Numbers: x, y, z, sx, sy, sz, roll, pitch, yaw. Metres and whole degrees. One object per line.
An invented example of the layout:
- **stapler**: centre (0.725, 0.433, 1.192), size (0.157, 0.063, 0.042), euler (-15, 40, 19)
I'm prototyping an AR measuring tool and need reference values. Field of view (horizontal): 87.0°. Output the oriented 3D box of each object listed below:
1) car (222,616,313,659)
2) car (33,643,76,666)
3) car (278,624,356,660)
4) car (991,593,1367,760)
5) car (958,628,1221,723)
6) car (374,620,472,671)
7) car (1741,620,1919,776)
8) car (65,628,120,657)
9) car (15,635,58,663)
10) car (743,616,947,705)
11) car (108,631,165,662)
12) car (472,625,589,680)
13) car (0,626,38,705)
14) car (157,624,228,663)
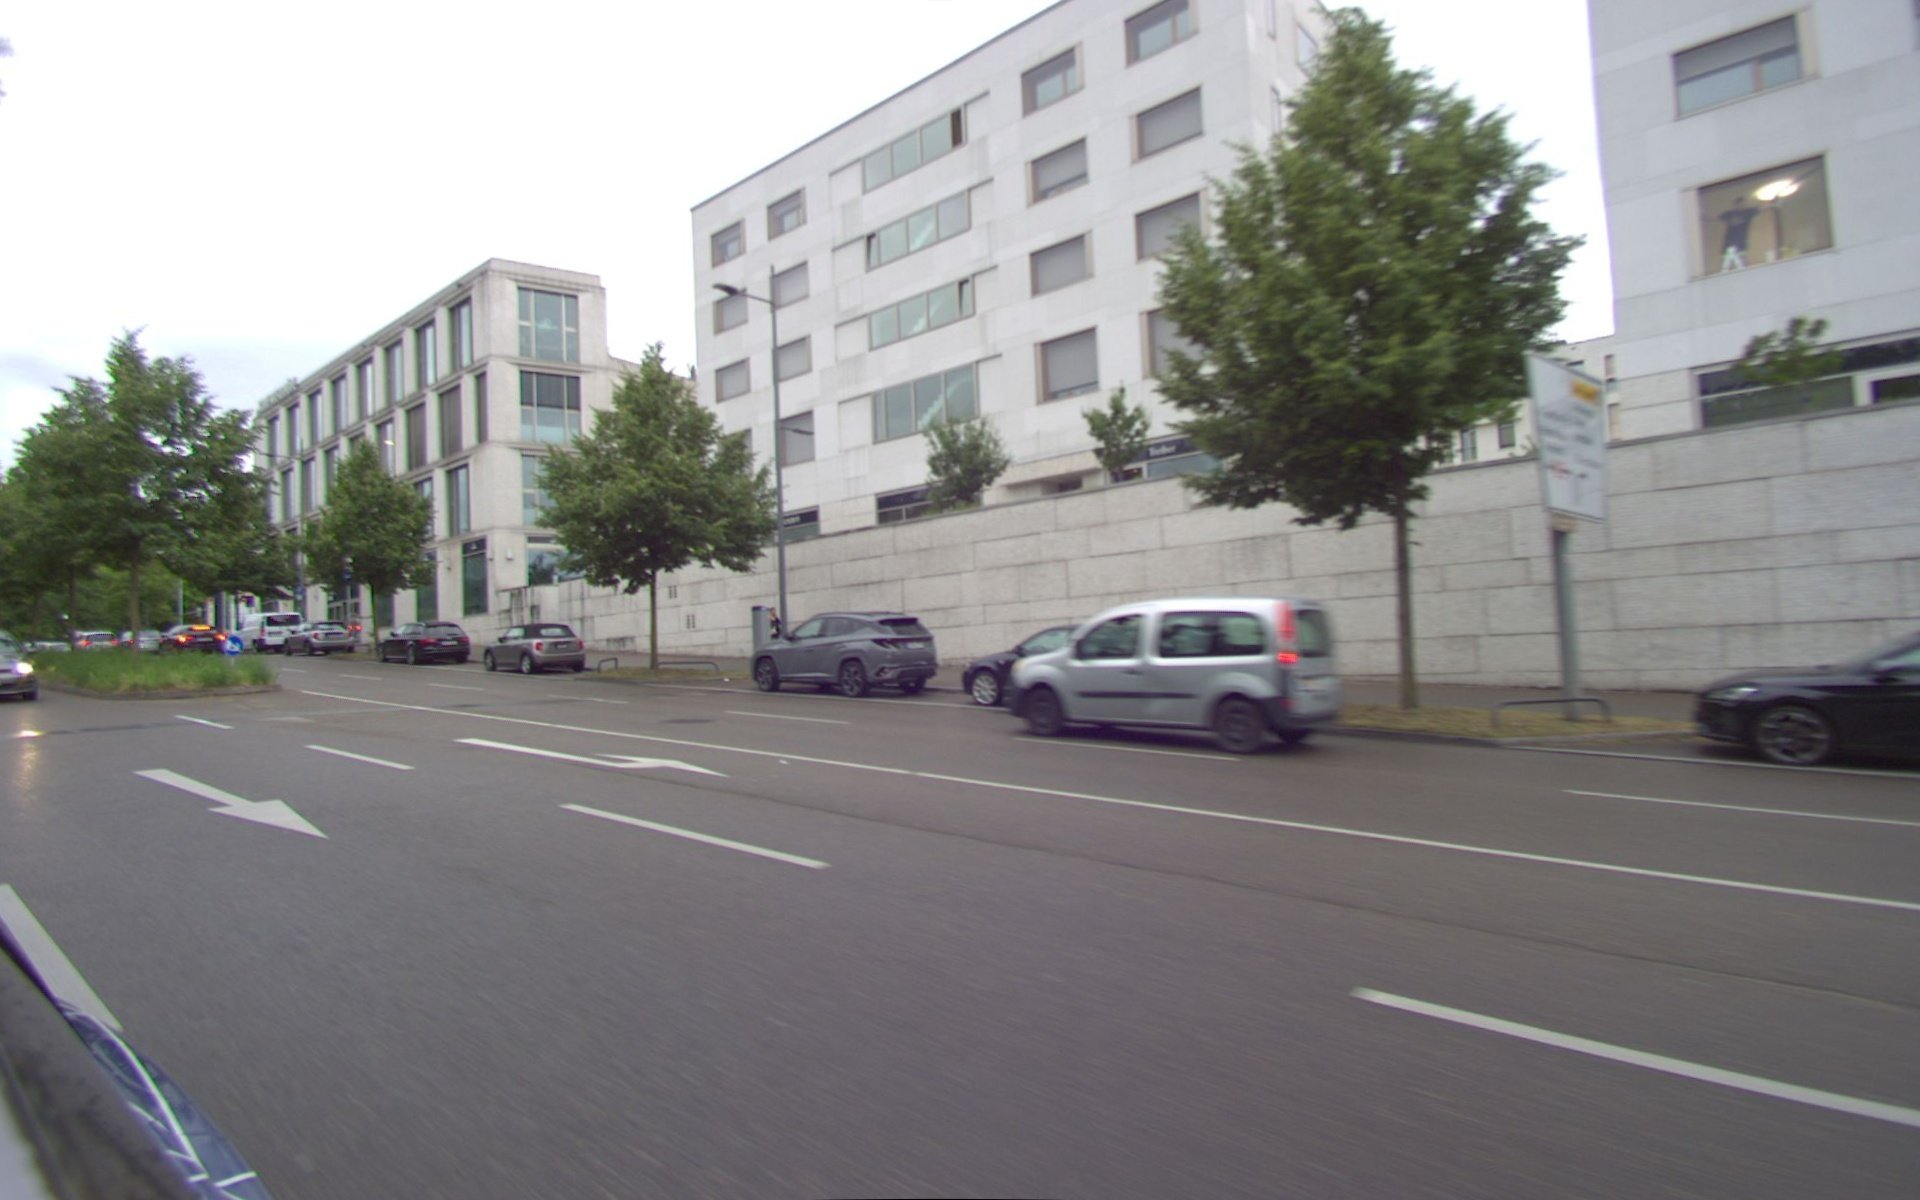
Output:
- **car**: centre (-32.315, 1.763, 47.172), size (5.255, 1.829, 2.101), euler (-3, -2, 39)
- **car**: centre (-61.785, 3.738, 69.054), size (4.058, 1.479, 1.725), euler (-3, -3, 41)
- **car**: centre (-26.849, 1.741, 42.201), size (3.695, 1.395, 1.678), euler (-2, 0, 40)
- **car**: centre (2.606, 0.894, 12.706), size (4.334, 1.760, 1.692), euler (-2, -4, 40)
- **car**: centre (2.072, 1.180, 16.989), size (4.161, 1.370, 1.677), euler (-2, -1, 42)
- **car**: centre (-18.571, 1.518, 34.959), size (4.015, 1.593, 1.677), euler (-1, 0, 41)
- **car**: centre (10.133, 0.931, 9.797), size (3.963, 1.437, 1.661), euler (-1, 0, 42)
- **car**: centre (-51.307, 2.538, 59.827), size (4.671, 1.613, 1.810), euler (-3, -2, 41)
- **car**: centre (-69.663, 3.700, 76.331), size (4.770, 1.816, 1.824), euler (-6, -3, 41)
- **car**: centre (-2.458, 1.159, 20.883), size (4.360, 1.632, 1.685), euler (-1, -1, 41)
- **car**: centre (-42.660, 2.411, 52.389), size (3.993, 1.422, 1.624), euler (-5, -4, 41)
- **car**: centre (-12.762, 1.524, 29.968), size (3.858, 1.455, 1.677), euler (-2, 0, 42)
- **car**: centre (-20.051, 1.409, 20.461), size (1.878, 1.450, 4.002), euler (-5, 1, -44)
- **car**: centre (-34.237, 1.931, 45.126), size (4.014, 1.593, 1.678), euler (-2, 0, 41)
